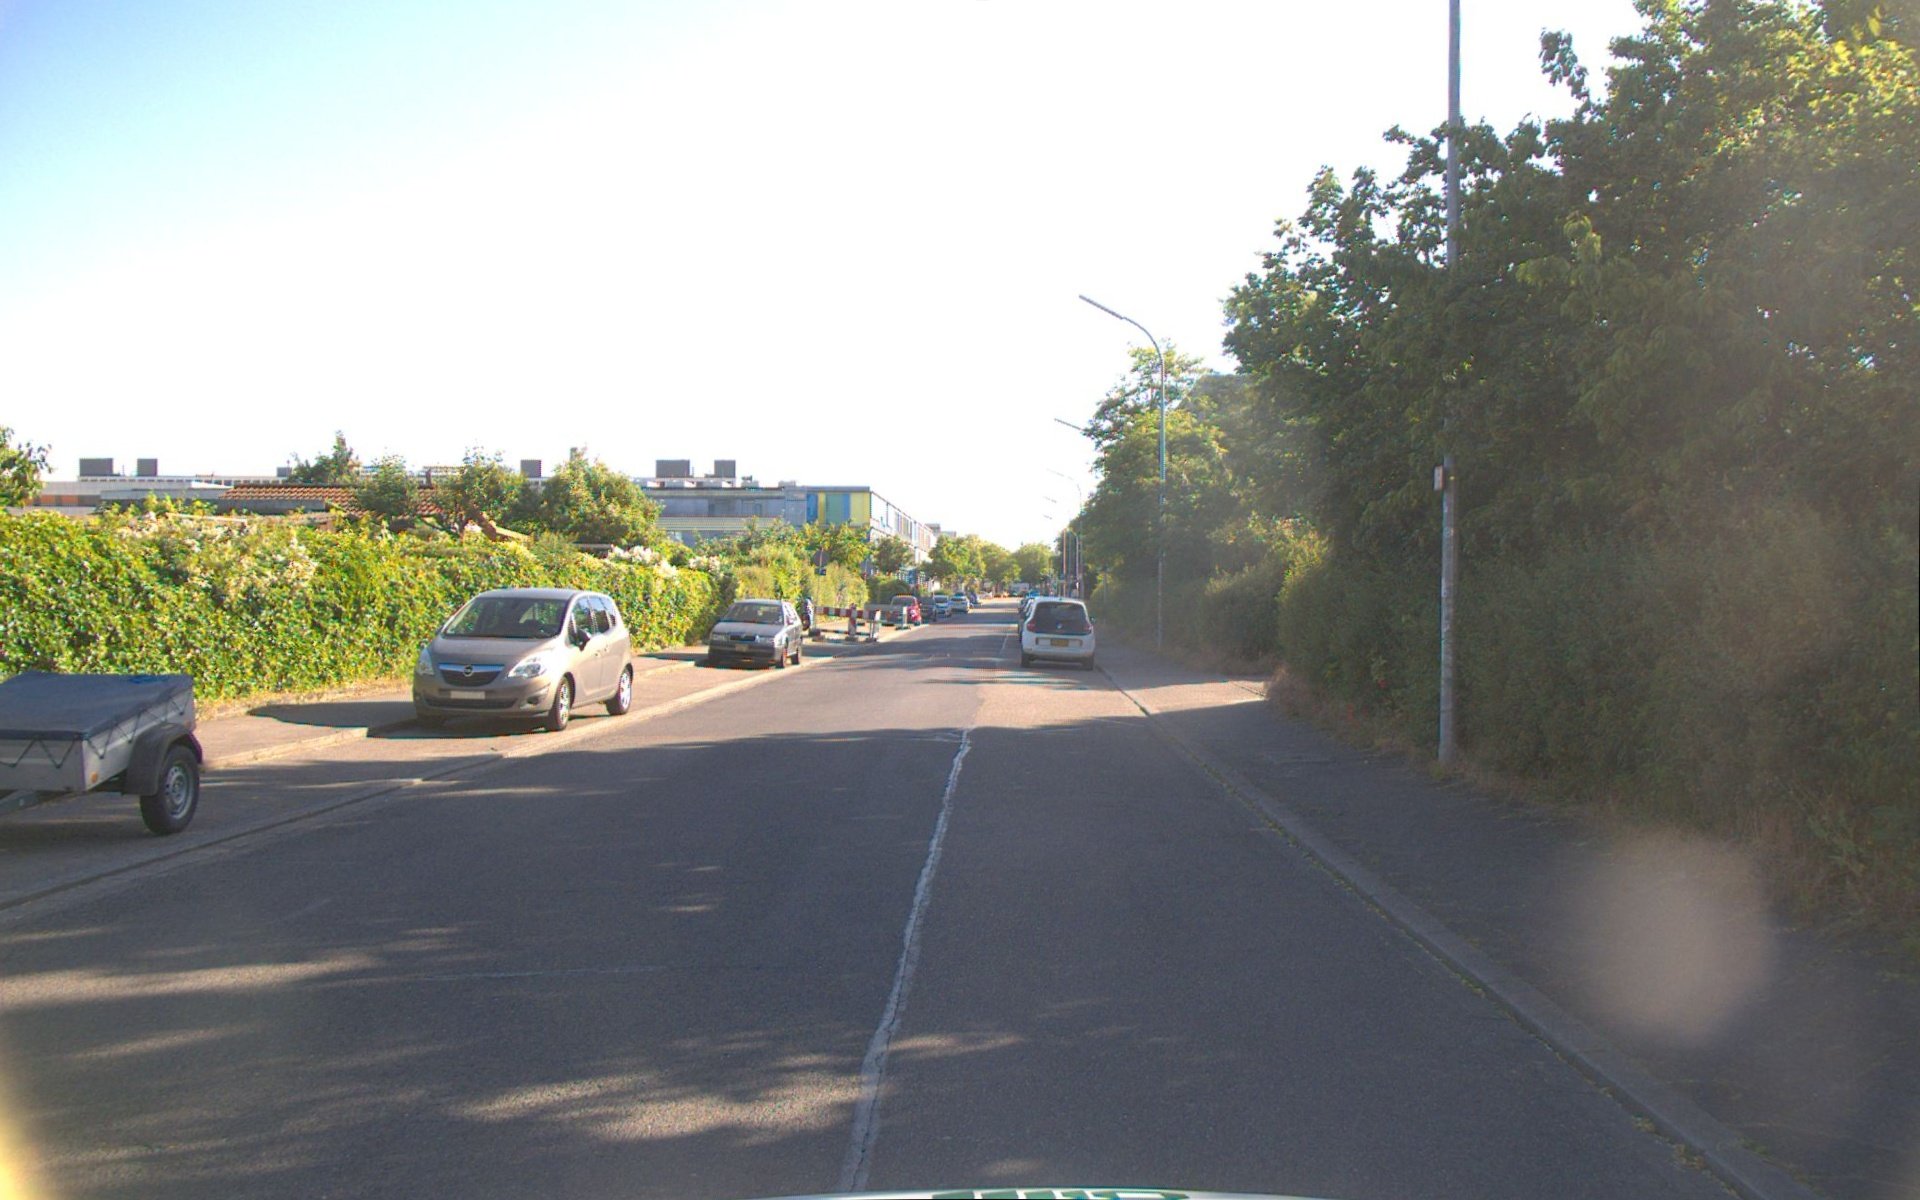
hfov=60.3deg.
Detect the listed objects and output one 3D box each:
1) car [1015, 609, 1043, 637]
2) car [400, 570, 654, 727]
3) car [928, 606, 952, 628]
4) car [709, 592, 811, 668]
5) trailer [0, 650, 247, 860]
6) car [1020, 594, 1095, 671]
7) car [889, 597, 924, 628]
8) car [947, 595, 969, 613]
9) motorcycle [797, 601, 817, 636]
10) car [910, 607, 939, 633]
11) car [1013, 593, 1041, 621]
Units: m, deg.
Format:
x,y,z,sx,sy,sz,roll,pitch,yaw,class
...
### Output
x,y,z,sx,sy,sz,roll,pitch,yaw,class
4.212,1.400,100.590,1.589,1.553,3.903,4,0,3,car
-5.129,0.549,20.199,1.609,1.627,4.313,3,0,4,car
-1.471,1.235,119.833,1.527,1.521,3.759,1,-1,2,car
-4.509,0.668,37.802,1.609,1.583,4.418,1,-1,2,car
-5.684,0.852,9.853,1.512,0.970,2.648,3,-1,5,trailer
2.196,0.716,37.749,1.524,1.565,3.556,4,0,2,car
-2.734,0.632,84.602,1.527,1.521,3.571,1,-1,2,car
-0.173,0.395,149.177,1.816,1.453,4.135,3,0,2,car
-5.882,0.717,63.699,0.555,1.290,2.090,3,-1,-2,motorcycle
-2.202,1.237,102.797,1.527,1.520,3.571,4,0,2,car
4.275,0.445,106.590,1.642,1.636,4.179,4,0,1,car
